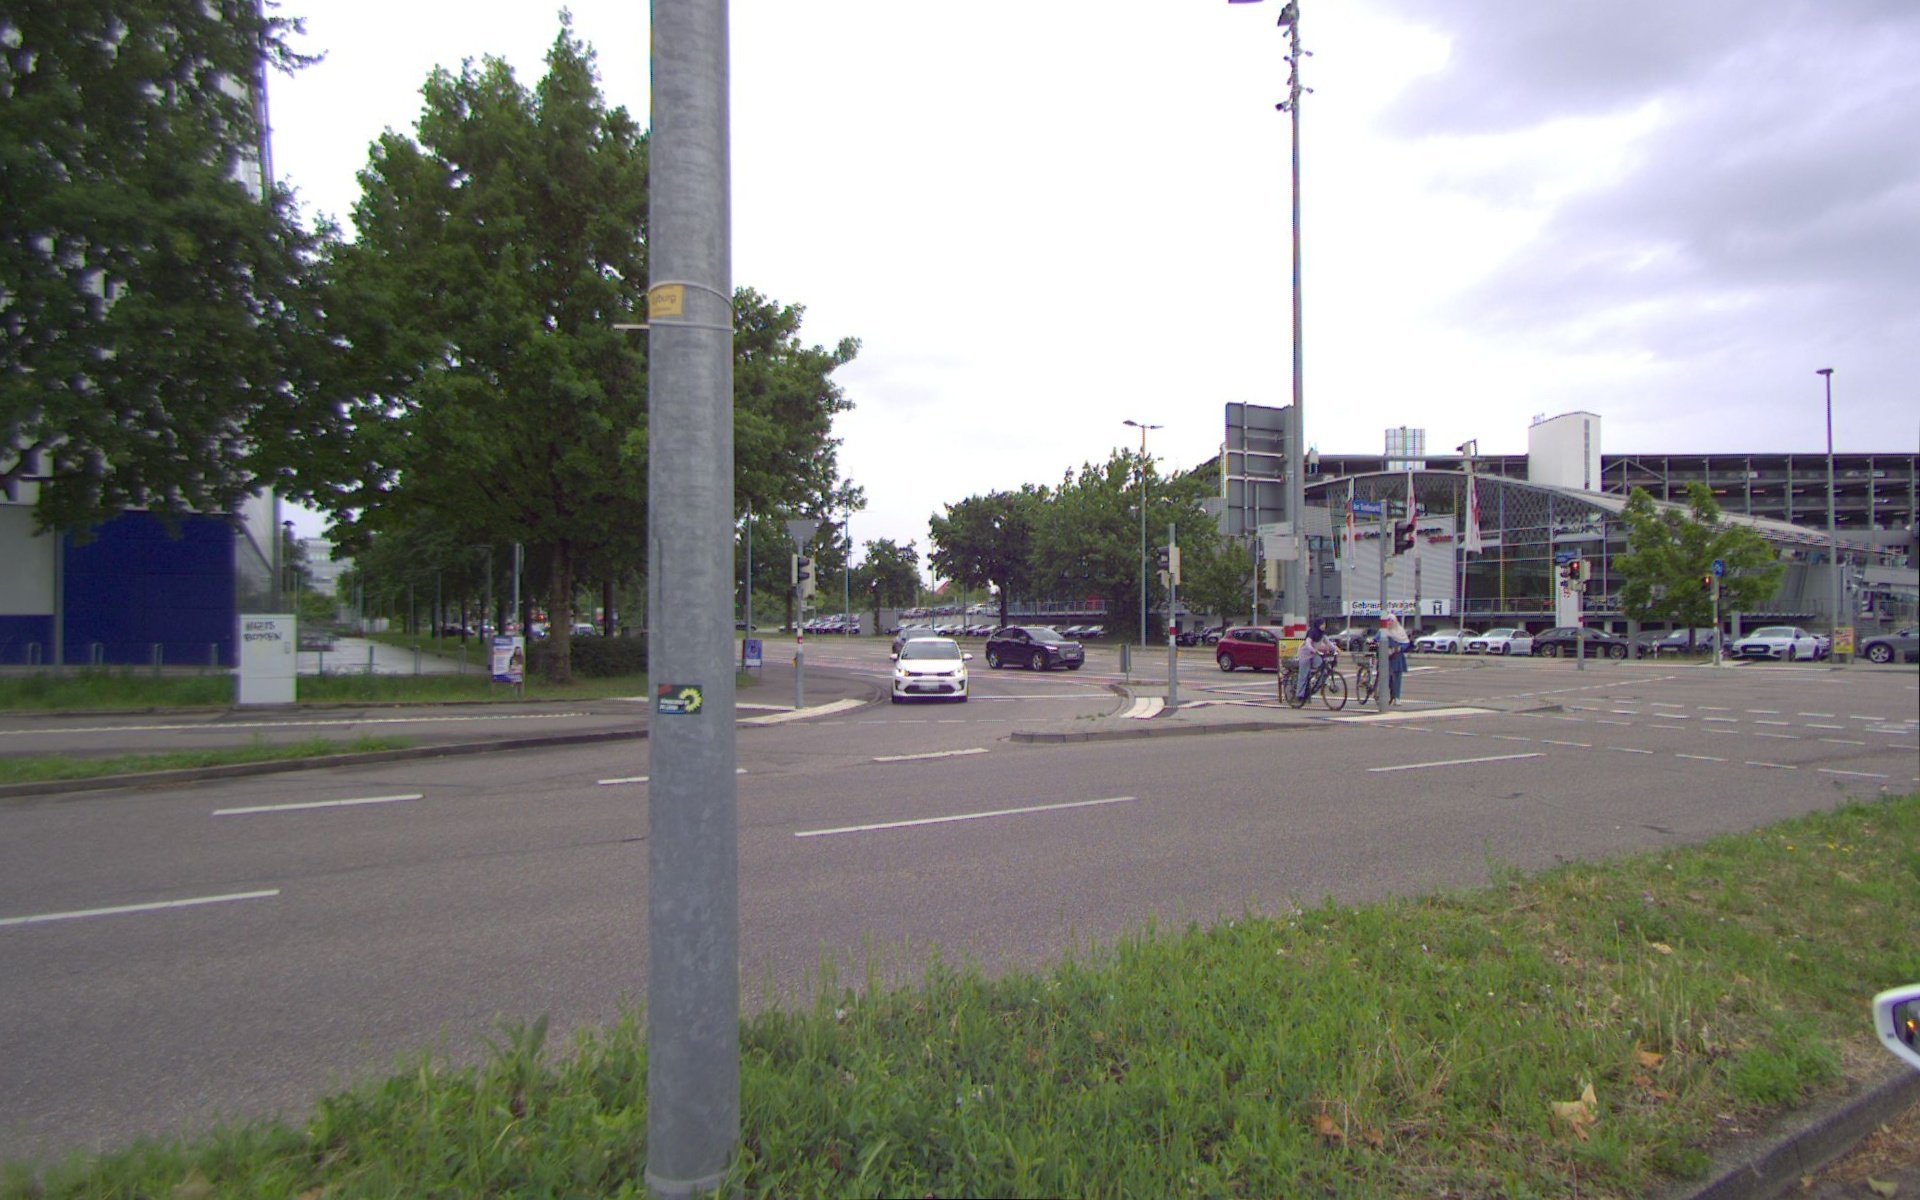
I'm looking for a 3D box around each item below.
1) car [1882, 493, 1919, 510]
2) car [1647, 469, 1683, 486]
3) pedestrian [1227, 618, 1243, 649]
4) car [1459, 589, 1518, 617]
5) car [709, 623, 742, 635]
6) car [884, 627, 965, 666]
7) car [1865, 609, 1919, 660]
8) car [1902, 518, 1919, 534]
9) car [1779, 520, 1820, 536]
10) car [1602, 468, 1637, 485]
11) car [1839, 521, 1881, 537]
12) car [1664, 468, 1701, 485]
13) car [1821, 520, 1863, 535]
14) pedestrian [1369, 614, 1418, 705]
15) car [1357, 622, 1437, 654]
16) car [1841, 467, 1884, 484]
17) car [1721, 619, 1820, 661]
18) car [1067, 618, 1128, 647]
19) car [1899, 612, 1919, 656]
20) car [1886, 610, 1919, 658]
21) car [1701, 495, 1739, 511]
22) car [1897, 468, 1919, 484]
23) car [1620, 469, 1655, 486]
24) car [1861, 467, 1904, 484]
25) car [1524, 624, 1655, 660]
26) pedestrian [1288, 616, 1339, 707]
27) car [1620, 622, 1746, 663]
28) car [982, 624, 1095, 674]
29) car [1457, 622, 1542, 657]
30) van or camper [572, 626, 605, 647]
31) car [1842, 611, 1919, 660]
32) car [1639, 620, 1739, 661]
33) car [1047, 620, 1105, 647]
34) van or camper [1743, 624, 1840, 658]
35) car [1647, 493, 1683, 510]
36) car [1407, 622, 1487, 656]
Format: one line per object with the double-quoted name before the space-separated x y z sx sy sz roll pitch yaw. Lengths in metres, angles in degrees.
"car" 121.927 -12.697 129.861 1.960 1.689 4.001 1 0 2
"car" 91.697 -15.934 130.617 1.960 1.689 4.001 1 0 2
"pedestrian" 17.425 2.115 63.688 0.666 1.895 0.713 3 -2 -31
"car" 34.728 0.195 65.987 3.960 1.684 1.807 2 0 -35
"car" -30.876 3.805 132.481 3.949 1.455 1.718 2 0 -27
"car" -1.628 2.038 44.659 1.861 1.565 4.569 -1 -1 -26
"car" 39.726 1.374 40.337 1.979 2.040 4.674 2 -4 -34
"car" 126.690 -9.774 131.285 2.167 1.971 5.331 1 0 -1
"car" 108.827 -9.307 130.260 1.960 1.689 4.001 1 0 2
"car" 86.126 -16.101 131.203 1.960 1.689 4.001 1 0 2
"car" 116.783 -9.225 130.325 1.960 1.689 4.001 1 0 2
"car" 94.064 -16.078 130.788 1.960 1.689 4.001 1 0 2
"car" 114.172 -9.381 130.085 1.960 1.689 4.001 1 0 2
"pedestrian" 7.975 1.098 18.508 0.628 1.647 0.693 -2 -4 11
"car" 22.998 2.013 52.795 4.188 1.505 1.855 4 -3 -33
"car" 116.730 -16.109 129.979 1.960 1.689 4.001 1 0 2
"car" 32.018 1.596 39.650 4.184 1.505 1.858 3 -3 -33
"car" 10.132 2.429 74.098 4.210 1.622 1.858 8 -4 -34
"car" 44.307 1.455 43.558 2.034 1.900 4.914 2 -4 -35
"car" 42.275 1.397 41.868 2.243 2.040 4.993 2 -4 -34
"car" 98.642 -12.576 130.367 1.960 1.689 4.001 1 0 2
"car" 124.354 -16.086 130.277 1.960 1.689 4.001 1 0 2
"car" 88.520 -16.027 131.311 1.960 1.689 4.001 1 0 2
"car" 119.350 -16.113 129.936 1.960 1.689 4.001 1 0 2
"car" 28.387 1.889 45.451 1.873 1.505 4.713 4 -4 -32
"pedestrian" 6.342 1.099 18.054 0.641 1.569 0.649 2 -2 -4
"car" 36.276 2.077 50.518 1.978 1.965 4.776 1 -2 -32
"car" 2.856 1.794 37.544 1.867 1.659 4.292 -3 0 -35
"car" 26.026 1.896 48.439 4.154 1.505 1.836 4 -3 -33
"van or camper" -32.212 3.177 87.001 1.977 1.744 4.359 0 -3 -31
"car" 37.589 1.382 38.953 1.979 1.887 4.744 2 -4 -34
"car" 30.503 1.739 42.005 4.473 1.505 2.050 4 -5 -35
"car" 8.843 2.567 76.433 4.181 1.504 1.808 8 -4 -34
"van or camper" 47.807 2.340 57.813 1.828 1.734 3.963 2 0 -33
"car" 91.568 -12.784 130.564 1.960 1.689 4.001 1 0 2
"car" 24.499 1.956 50.500 4.002 1.505 1.860 4 -3 -33
